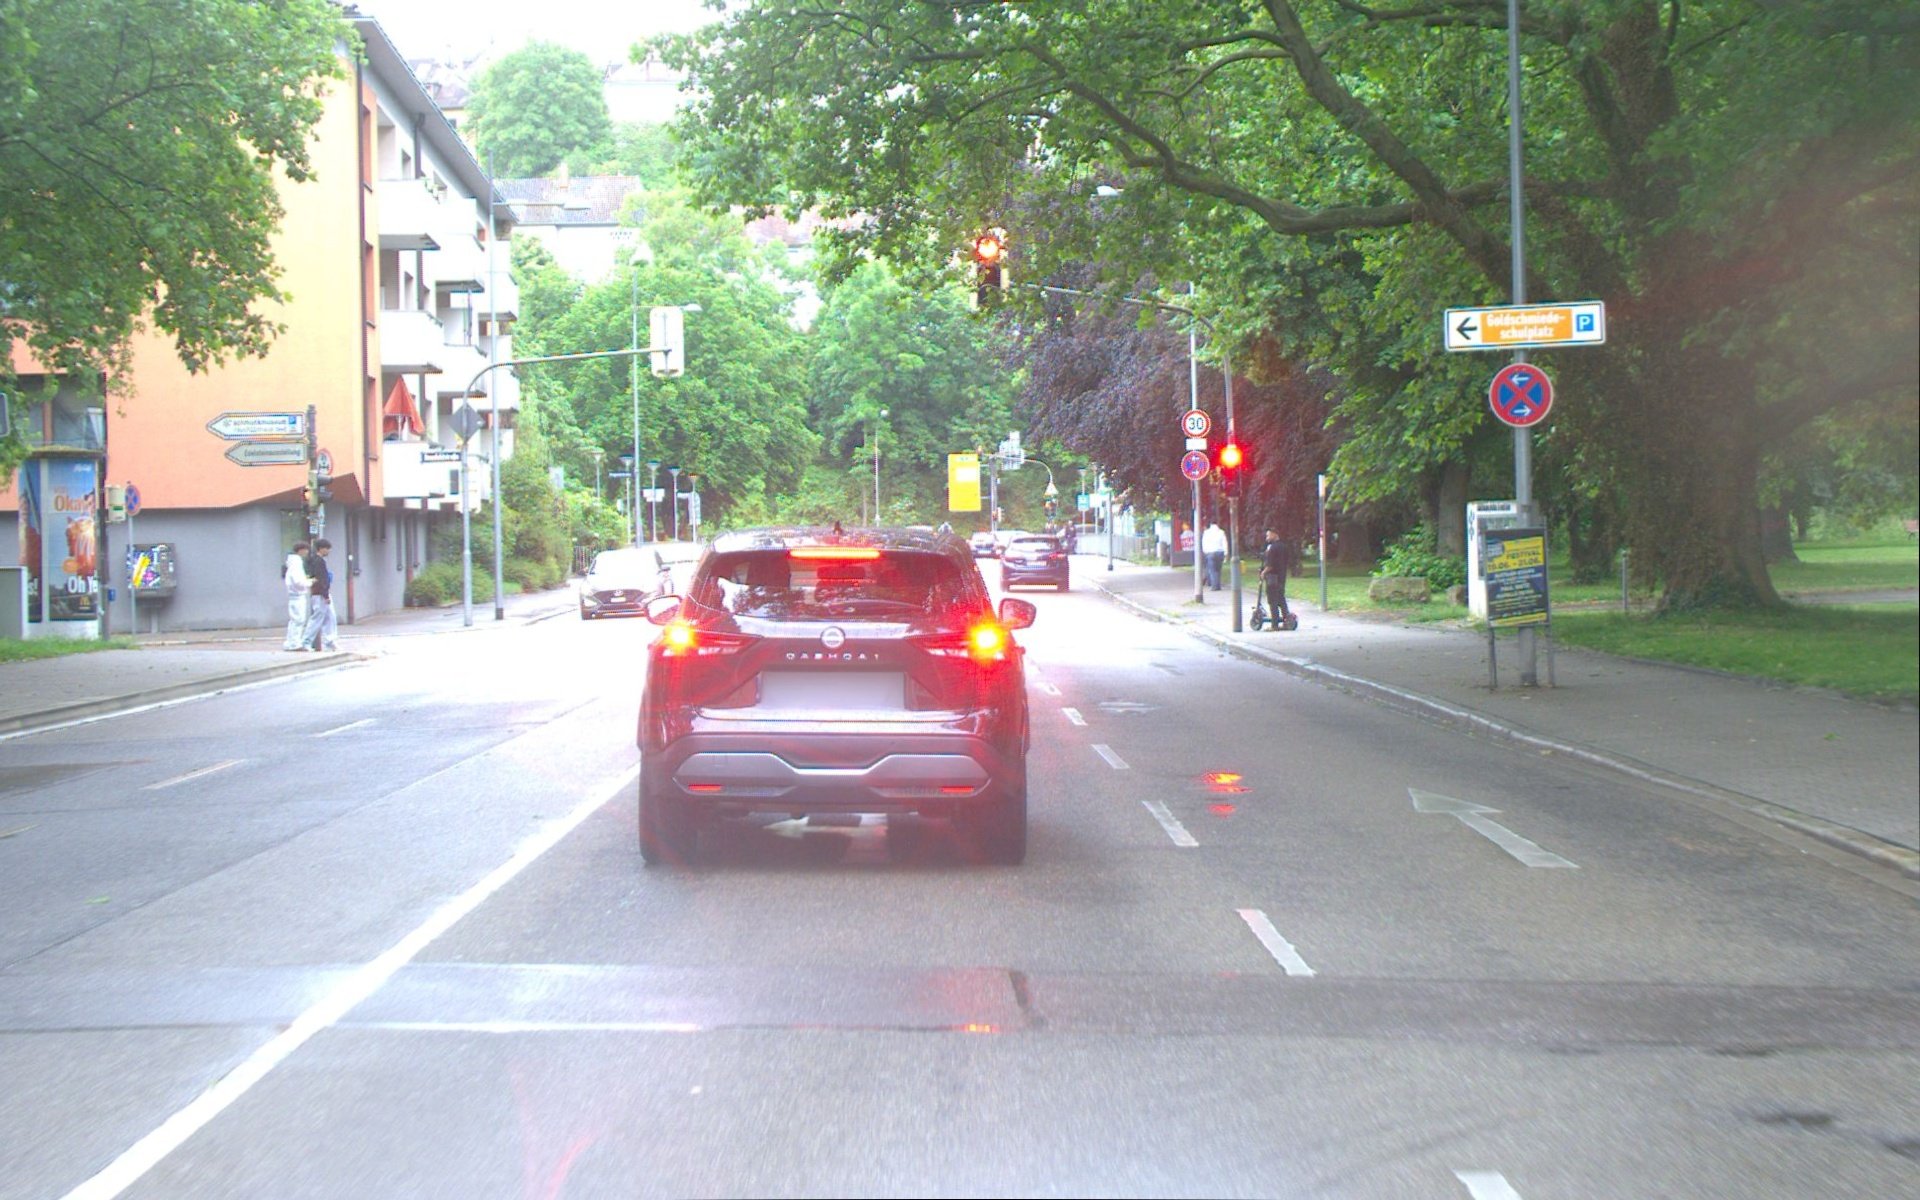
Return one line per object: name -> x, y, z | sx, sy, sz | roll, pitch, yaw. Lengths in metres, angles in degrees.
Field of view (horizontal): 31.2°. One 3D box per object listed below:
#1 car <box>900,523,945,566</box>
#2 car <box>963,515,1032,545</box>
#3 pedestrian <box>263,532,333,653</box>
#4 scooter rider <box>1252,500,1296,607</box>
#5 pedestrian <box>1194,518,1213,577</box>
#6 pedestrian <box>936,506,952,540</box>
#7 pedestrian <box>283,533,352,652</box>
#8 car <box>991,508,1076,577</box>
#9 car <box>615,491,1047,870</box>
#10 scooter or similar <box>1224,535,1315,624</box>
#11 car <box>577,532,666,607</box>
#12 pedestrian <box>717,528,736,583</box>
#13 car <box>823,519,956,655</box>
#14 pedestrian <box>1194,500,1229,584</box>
car -> -1.400, -2.084, 128.719 | 1.634, 1.527, 3.968 | -2, 1, -1
car -> 2.217, -4.182, 204.234 | 3.987, 1.662, 1.702 | 2, 1, -1
pedestrian -> -10.341, -0.120, 53.678 | 1.035, 1.869, 0.658 | -1, 1, -12
scooter rider -> 5.207, -0.772, 57.023 | 0.643, 1.760, 0.735 | -1, 0, 11
pedestrian -> 6.234, -1.351, 88.089 | 0.390, 1.497, 0.559 | -1, 1, -1
pedestrian -> -0.782, -3.770, 168.735 | 0.509, 1.667, 0.658 | -1, 1, 27
pedestrian -> -10.170, -0.125, 54.430 | 1.035, 1.869, 0.658 | -1, 1, -12
car -> 1.958, -1.504, 90.478 | 1.994, 1.729, 3.999 | 2, 1, 4
car -> -0.597, 0.315, 17.368 | 1.913, 1.674, 4.000 | 1, 1, -1
scooter or similar -> 5.137, -0.340, 57.003 | 1.394, 1.441, 0.816 | -1, 0, 12
car -> -7.351, -0.683, 74.931 | 1.795, 1.528, 3.868 | -2, 1, -4
pedestrian -> -7.630, -1.464, 112.362 | 0.508, 1.796, 0.619 | -2, 1, -1
car -> -0.945, -0.207, 46.957 | 1.698, 1.739, 3.641 | -2, 1, -1
pedestrian -> 6.129, -1.414, 83.706 | 0.725, 2.007, 0.851 | -1, 1, -1
